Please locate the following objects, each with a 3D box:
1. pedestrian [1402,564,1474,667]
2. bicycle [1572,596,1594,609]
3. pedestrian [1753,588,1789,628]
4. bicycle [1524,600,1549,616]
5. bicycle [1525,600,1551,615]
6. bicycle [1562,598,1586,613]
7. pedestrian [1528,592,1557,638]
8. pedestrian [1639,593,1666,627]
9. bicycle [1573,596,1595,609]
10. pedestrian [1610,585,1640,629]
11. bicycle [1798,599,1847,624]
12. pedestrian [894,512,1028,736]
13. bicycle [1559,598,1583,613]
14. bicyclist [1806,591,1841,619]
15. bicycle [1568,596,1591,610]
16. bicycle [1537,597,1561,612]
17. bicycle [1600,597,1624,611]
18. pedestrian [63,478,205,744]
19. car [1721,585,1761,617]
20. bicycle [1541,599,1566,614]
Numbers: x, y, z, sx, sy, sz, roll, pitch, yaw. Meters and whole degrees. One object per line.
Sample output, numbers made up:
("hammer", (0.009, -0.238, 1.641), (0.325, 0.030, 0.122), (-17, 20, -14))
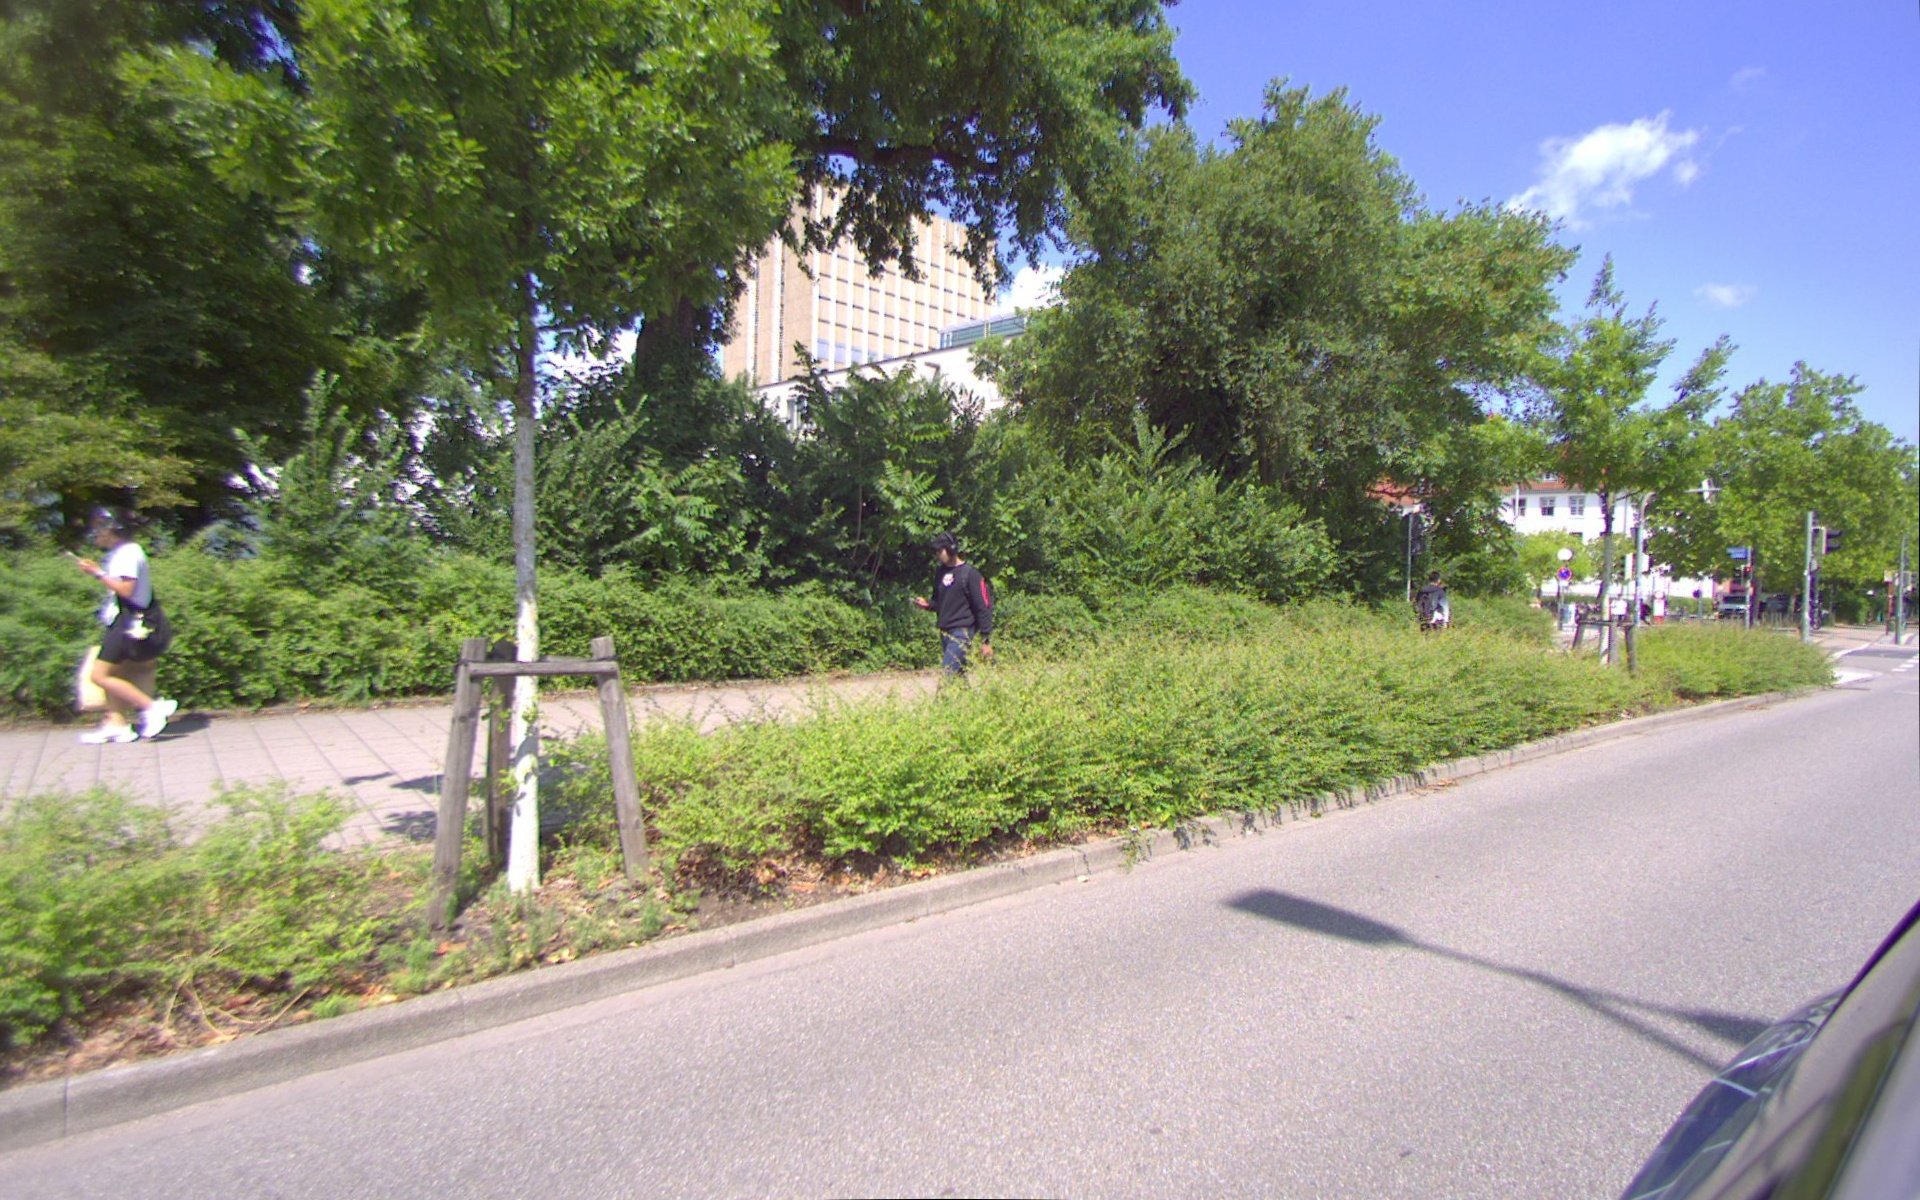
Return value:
("pedestrian", (8.385, 0.256, 17.759), (0.913, 1.743, 0.815), (0, 1, -40))
("bicycle", (47.538, 0.214, 77.231), (1.424, 0.963, 0.346), (2, 1, 44))
("pedestrian", (40.682, 0.381, 50.760), (0.951, 1.950, 1.034), (1, 1, -20))
("bicycle", (37.056, 0.495, 65.048), (1.367, 0.963, 0.346), (2, 1, 44))
("bicycle", (37.399, 0.492, 65.503), (1.367, 0.958, 0.346), (2, 1, 44))
("bicycle", (42.001, 0.370, 69.251), (1.367, 0.963, 0.346), (2, 1, 44))
("pedestrian", (21.223, 0.548, 36.894), (0.632, 1.646, 0.636), (1, 1, -6))
("pedestrian", (34.356, 0.492, 50.191), (1.056, 1.617, 0.960), (1, 1, 34))
("bicycle", (47.802, 0.209, 77.544), (1.424, 0.963, 0.346), (2, 1, 44))
("pedestrian", (29.278, 0.280, 44.557), (0.876, 1.896, 0.956), (2, 1, 44))
("bicycle", (45.914, 0.590, 53.907), (0.870, 1.267, 2.162), (1, 1, 7))
("pedestrian", (0.008, 0.179, 8.401), (0.822, 1.743, 0.718), (0, 1, -40))
("bicycle", (41.536, 0.391, 68.798), (1.367, 0.963, 0.346), (2, 1, 44))
("bicyclist", (45.900, 0.247, 53.826), (0.955, 1.462, 1.075), (1, 1, 7))
("bicycle", (47.011, 0.218, 76.837), (1.424, 0.963, 0.346), (2, 1, 44))
("bicycle", (41.279, 0.309, 70.898), (1.408, 0.963, 0.346), (2, 1, 44))
("bicycle", (48.665, 0.283, 75.559), (1.424, 0.963, 0.346), (2, 1, 44))
("pedestrian", (-5.809, 0.064, 7.138), (0.734, 1.743, 0.724), (0, 1, -40))
("car", (53.940, 0.037, 69.870), (1.991, 2.080, 4.167), (2, 1, 40))
("bicycle", (38.830, 0.413, 66.187), (1.367, 0.963, 0.346), (2, 1, 44))
